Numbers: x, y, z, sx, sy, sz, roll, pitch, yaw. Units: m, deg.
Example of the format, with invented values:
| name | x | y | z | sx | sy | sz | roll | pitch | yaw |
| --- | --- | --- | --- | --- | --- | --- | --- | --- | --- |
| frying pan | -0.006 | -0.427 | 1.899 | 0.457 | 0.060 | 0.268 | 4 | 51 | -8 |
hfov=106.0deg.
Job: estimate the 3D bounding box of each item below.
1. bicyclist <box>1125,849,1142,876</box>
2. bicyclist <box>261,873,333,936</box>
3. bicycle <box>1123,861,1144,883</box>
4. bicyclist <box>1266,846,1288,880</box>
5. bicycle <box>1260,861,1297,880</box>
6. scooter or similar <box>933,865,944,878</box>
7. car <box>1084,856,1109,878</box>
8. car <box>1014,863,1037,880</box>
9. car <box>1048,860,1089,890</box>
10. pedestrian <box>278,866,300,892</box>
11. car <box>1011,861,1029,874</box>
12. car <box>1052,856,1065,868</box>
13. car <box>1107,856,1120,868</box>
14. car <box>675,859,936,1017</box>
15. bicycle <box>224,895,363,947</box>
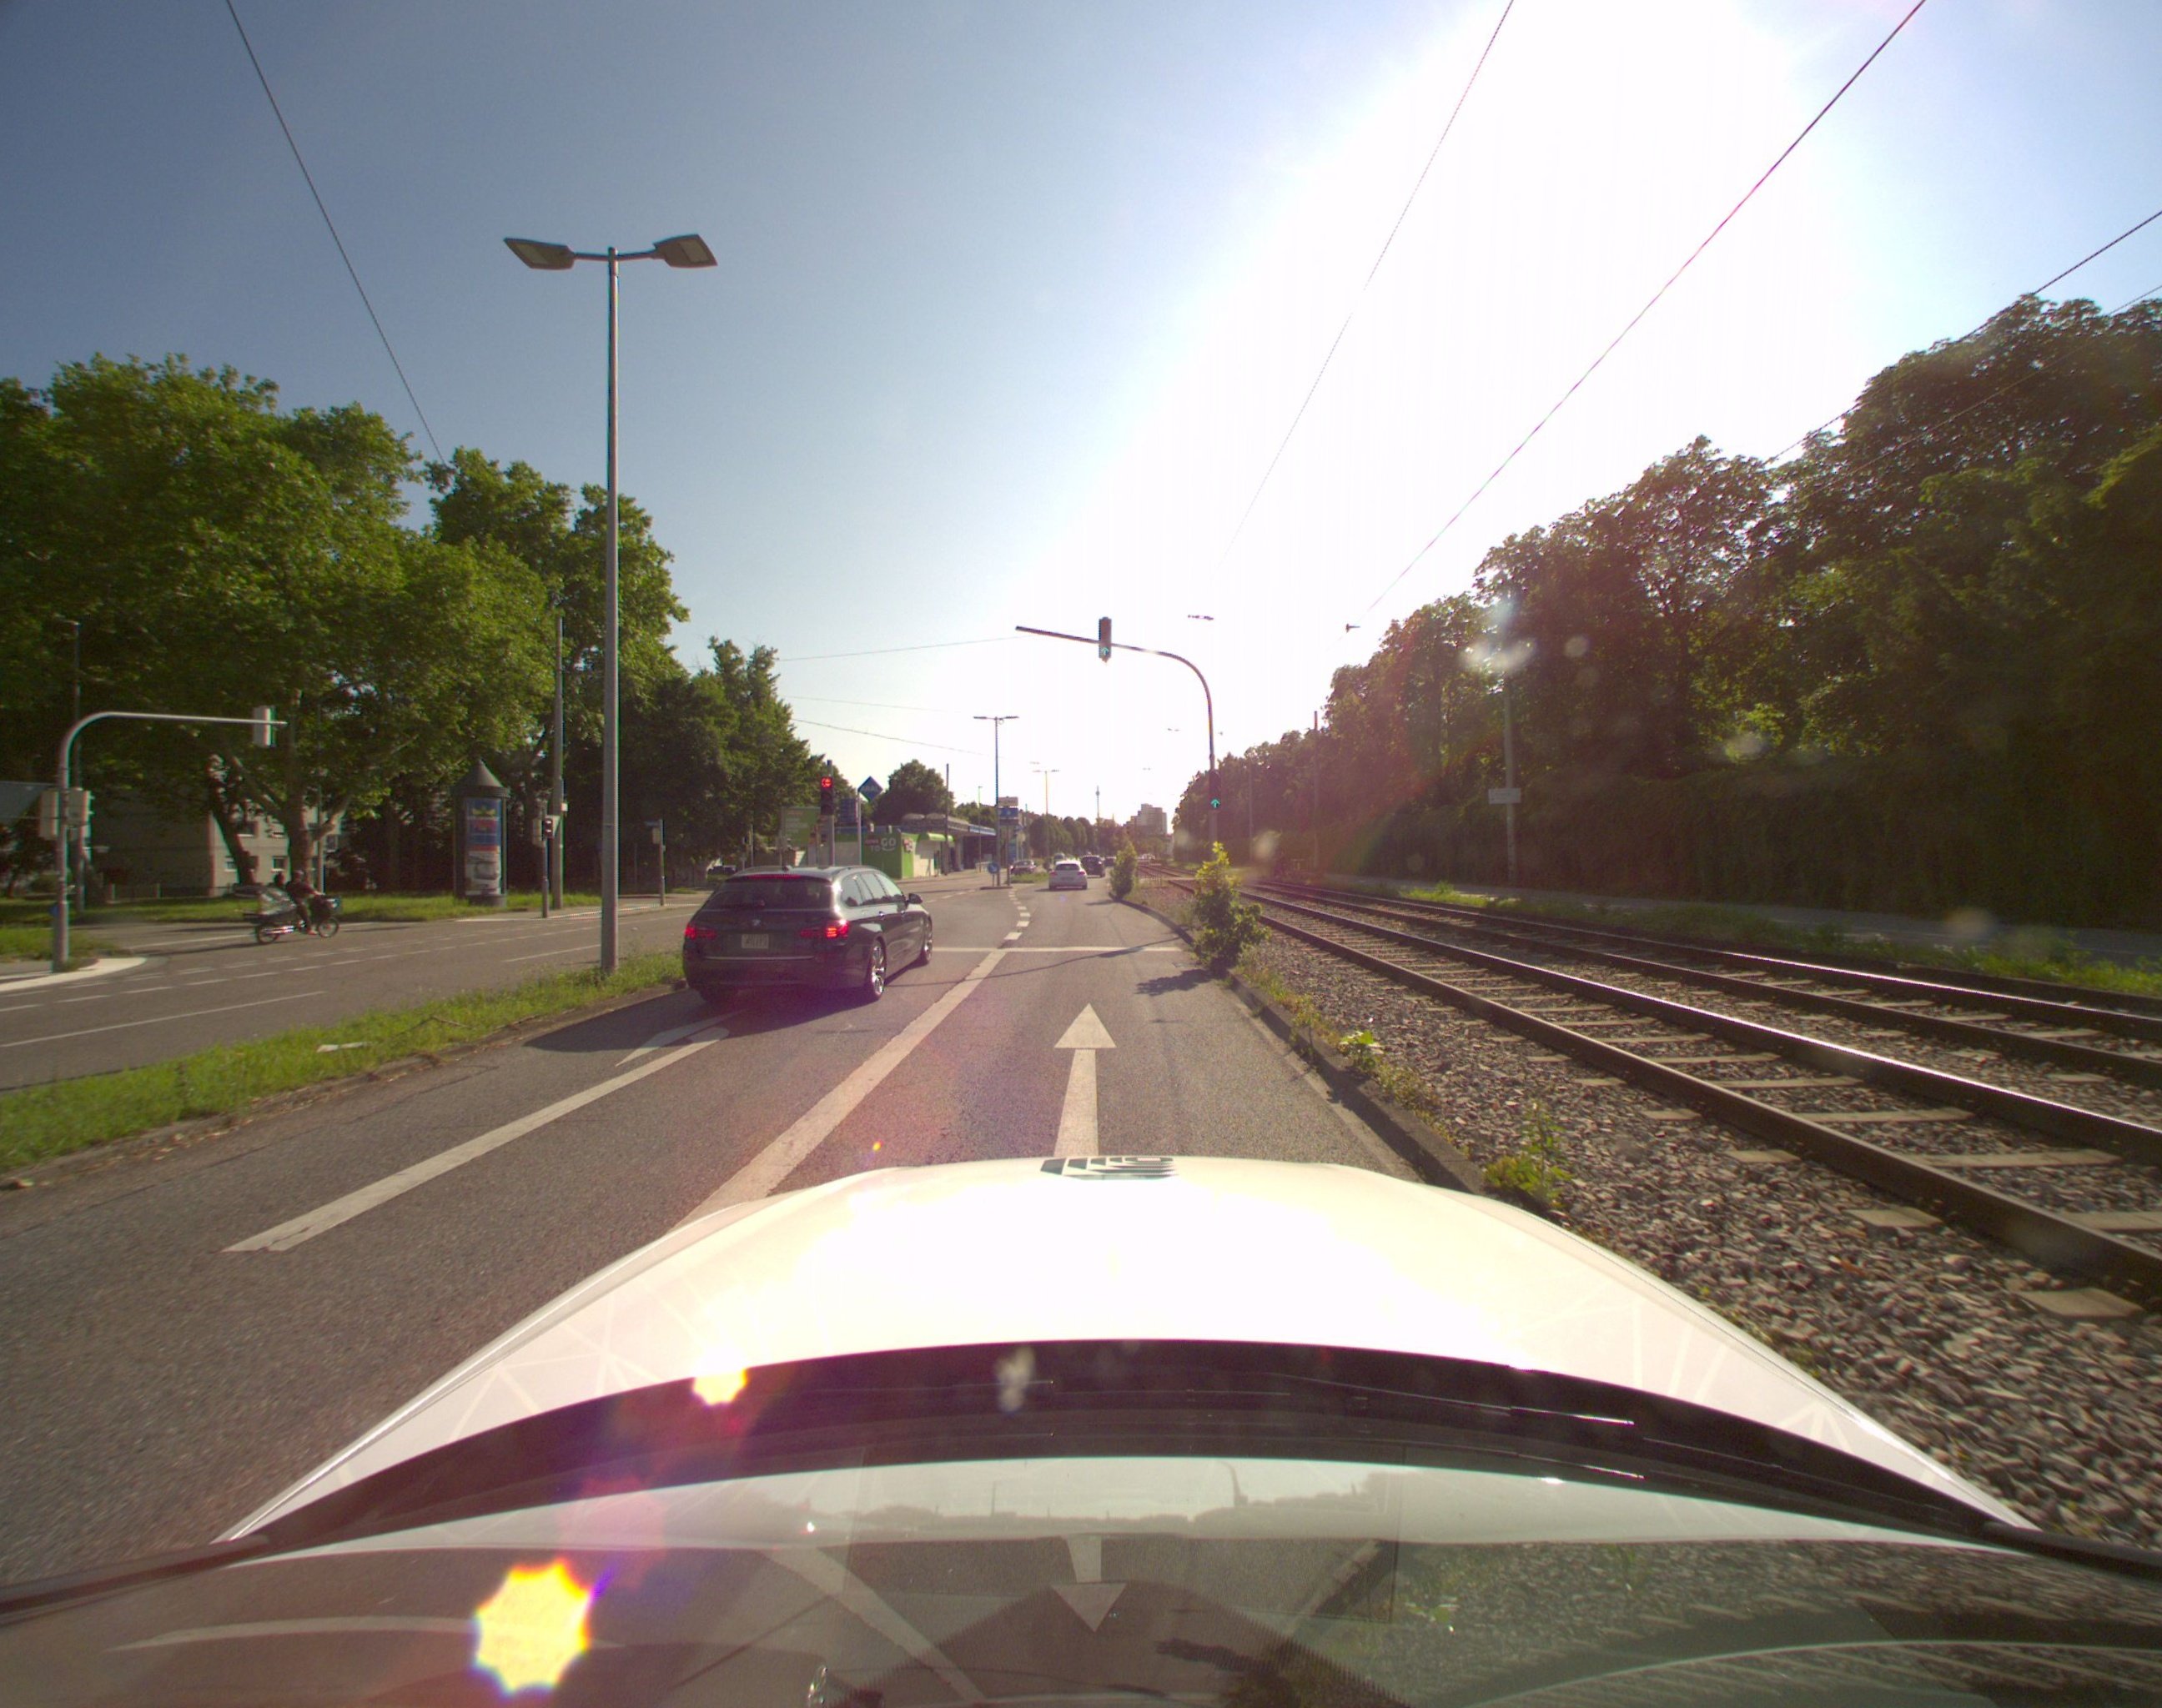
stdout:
| name | x | y | z | sx | sy | sz | roll | pitch | yaw |
| --- | --- | --- | --- | --- | --- | --- | --- | --- | --- |
| bicyclist | 2.824 | 0.436 | 43.555 | 0.638 | 1.416 | 1.017 | -1 | 0 | 18 |
| bicyclist | -18.804 | 1.198 | 19.555 | 0.658 | 1.452 | 1.052 | -1 | -1 | 5 |
| bicycle | 2.827 | 0.940 | 43.552 | 0.638 | 1.154 | 1.945 | -1 | -1 | 18 |
| bicyclist | 11.422 | 0.526 | 47.538 | 1.023 | 1.993 | 0.953 | -1 | -1 | 26 |
| bicycle | 11.507 | 0.966 | 47.496 | 1.903 | 1.115 | 0.953 | -1 | -1 | 26 |
| scooter or similar | -13.424 | 1.607 | 76.747 | 0.530 | 1.174 | 1.312 | 4 | 0 | 5 |
| car | 1.153 | 0.952 | 61.047 | 1.719 | 1.593 | 3.598 | 1 | 0 | -2 |
| car | -4.883 | 1.549 | 72.261 | 1.646 | 1.395 | 4.136 | -1 | 0 | 2 |
| car | -0.549 | 0.984 | 39.291 | 1.774 | 1.356 | 3.603 | 1 | 0 | 2 |
| pedestrian | -54.849 | 1.747 | 56.399 | 0.680 | 1.770 | 0.881 | -1 | -1 | 15 |
| car | -6.605 | 1.456 | 88.547 | 1.567 | 1.417 | 3.336 | -1 | 0 | 3 |
| car | -4.796 | 1.634 | 173.431 | 1.984 | 2.376 | 4.545 | -1 | 0 | 5 |
| car | 4.420 | 1.074 | 111.277 | 1.742 | 1.486 | 3.603 | 1 | 0 | 2 |
| car | -3.048 | 0.821 | 10.119 | 1.755 | 1.486 | 4.641 | 1 | 0 | -2 |
| bicycle | -18.795 | 1.574 | 19.548 | 0.658 | 1.049 | 2.584 | -1 | 0 | 5 |
